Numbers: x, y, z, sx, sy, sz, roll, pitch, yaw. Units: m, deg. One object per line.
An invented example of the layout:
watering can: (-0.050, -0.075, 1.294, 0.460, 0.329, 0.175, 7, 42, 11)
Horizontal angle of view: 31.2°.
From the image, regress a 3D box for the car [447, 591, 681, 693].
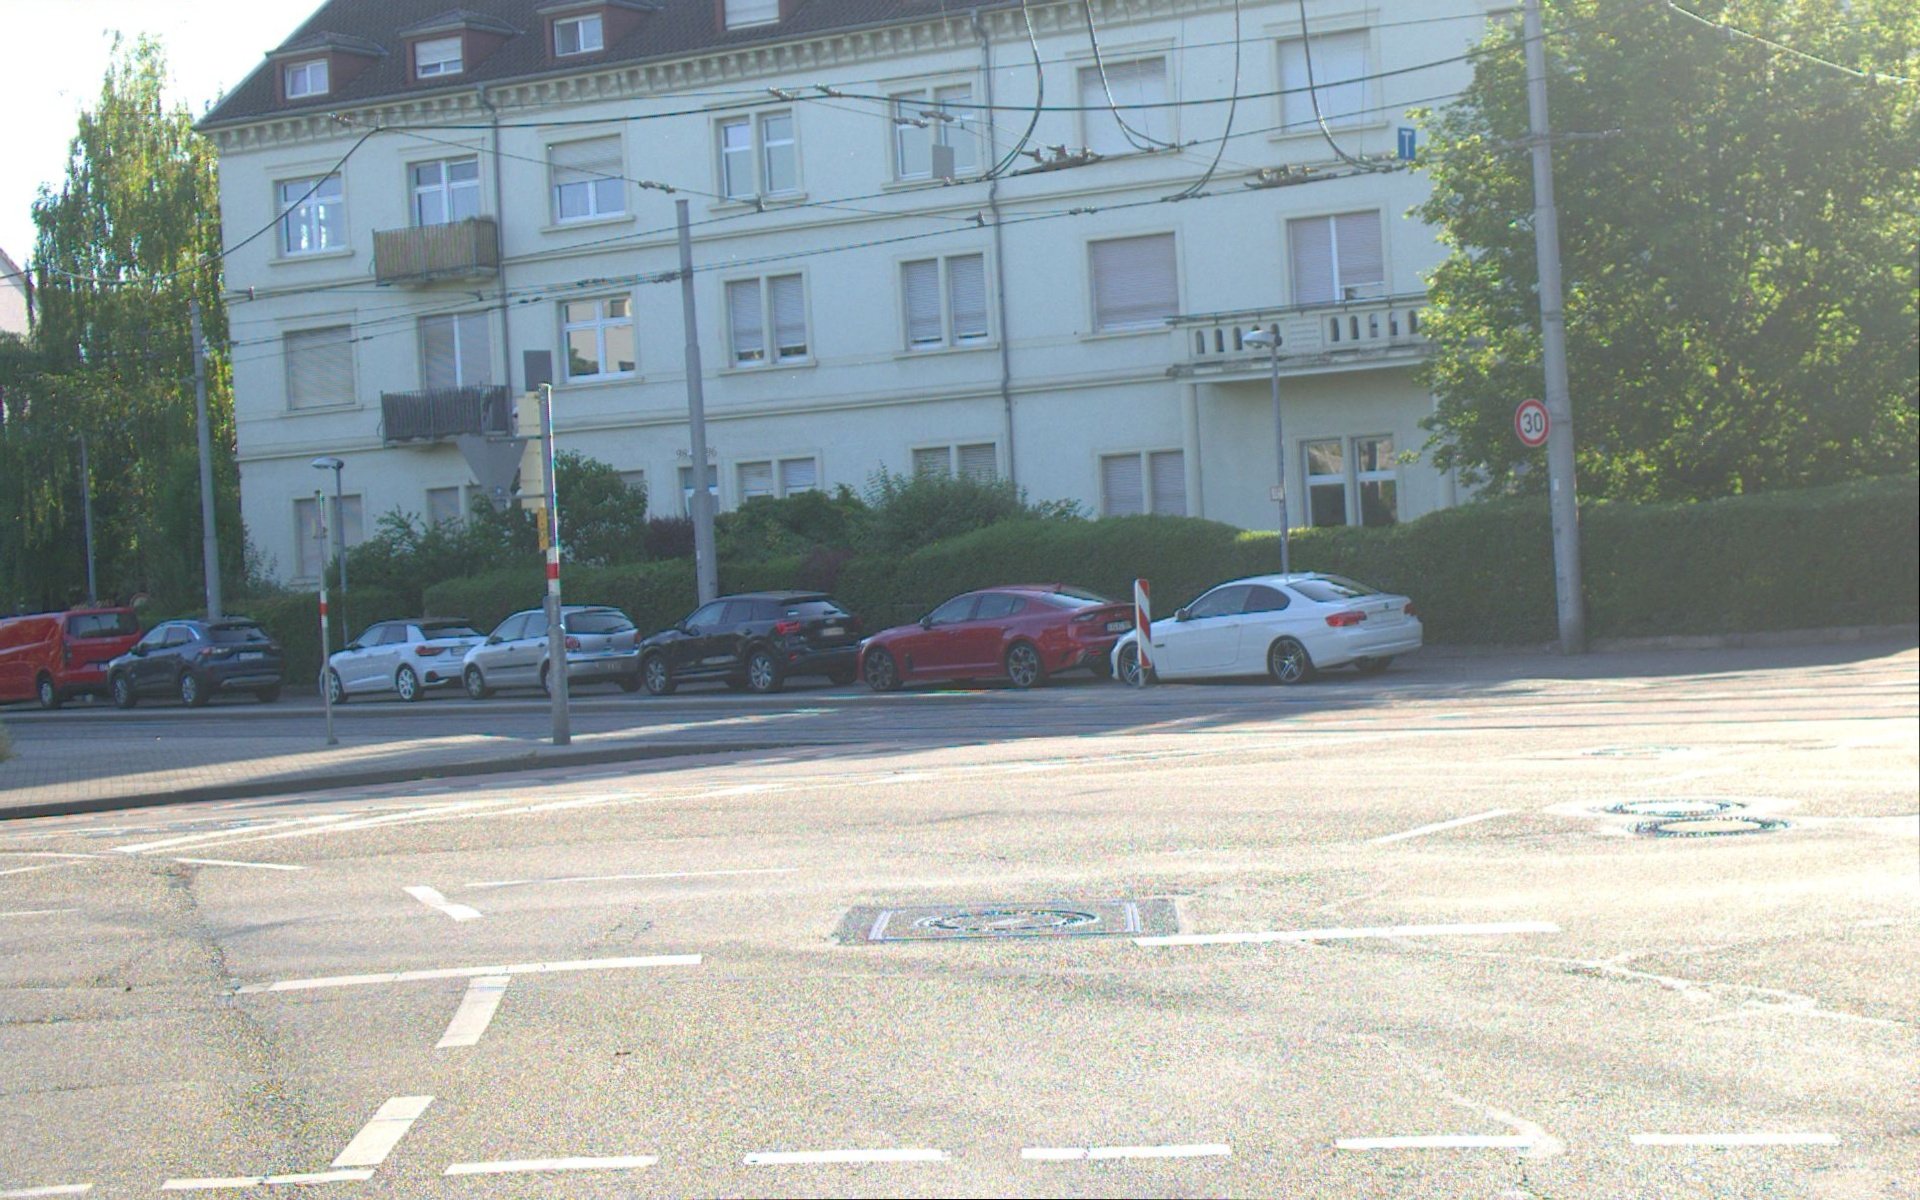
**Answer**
car: (-6.569, 0.702, 56.760, 1.982, 1.442, 3.717, -6, 3, -41)

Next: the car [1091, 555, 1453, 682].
car: (4.034, 0.262, 45.027, 1.926, 1.371, 4.494, -6, 3, -43)

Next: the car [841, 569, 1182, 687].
car: (0.688, 0.419, 49.017, 4.702, 1.371, 1.982, -3, 3, 44)

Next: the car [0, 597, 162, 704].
car: (-18.742, 1.072, 71.111, 2.051, 1.955, 5.148, -6, 3, -41)

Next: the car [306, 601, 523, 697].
car: (-9.588, 0.873, 60.249, 1.840, 1.442, 3.957, -6, 3, -41)

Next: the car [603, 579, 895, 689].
car: (-3.330, 0.542, 53.520, 1.982, 1.442, 4.703, -6, 3, -41)

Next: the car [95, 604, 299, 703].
car: (-14.699, 1.051, 66.077, 1.840, 1.662, 4.368, -6, 3, -41)
